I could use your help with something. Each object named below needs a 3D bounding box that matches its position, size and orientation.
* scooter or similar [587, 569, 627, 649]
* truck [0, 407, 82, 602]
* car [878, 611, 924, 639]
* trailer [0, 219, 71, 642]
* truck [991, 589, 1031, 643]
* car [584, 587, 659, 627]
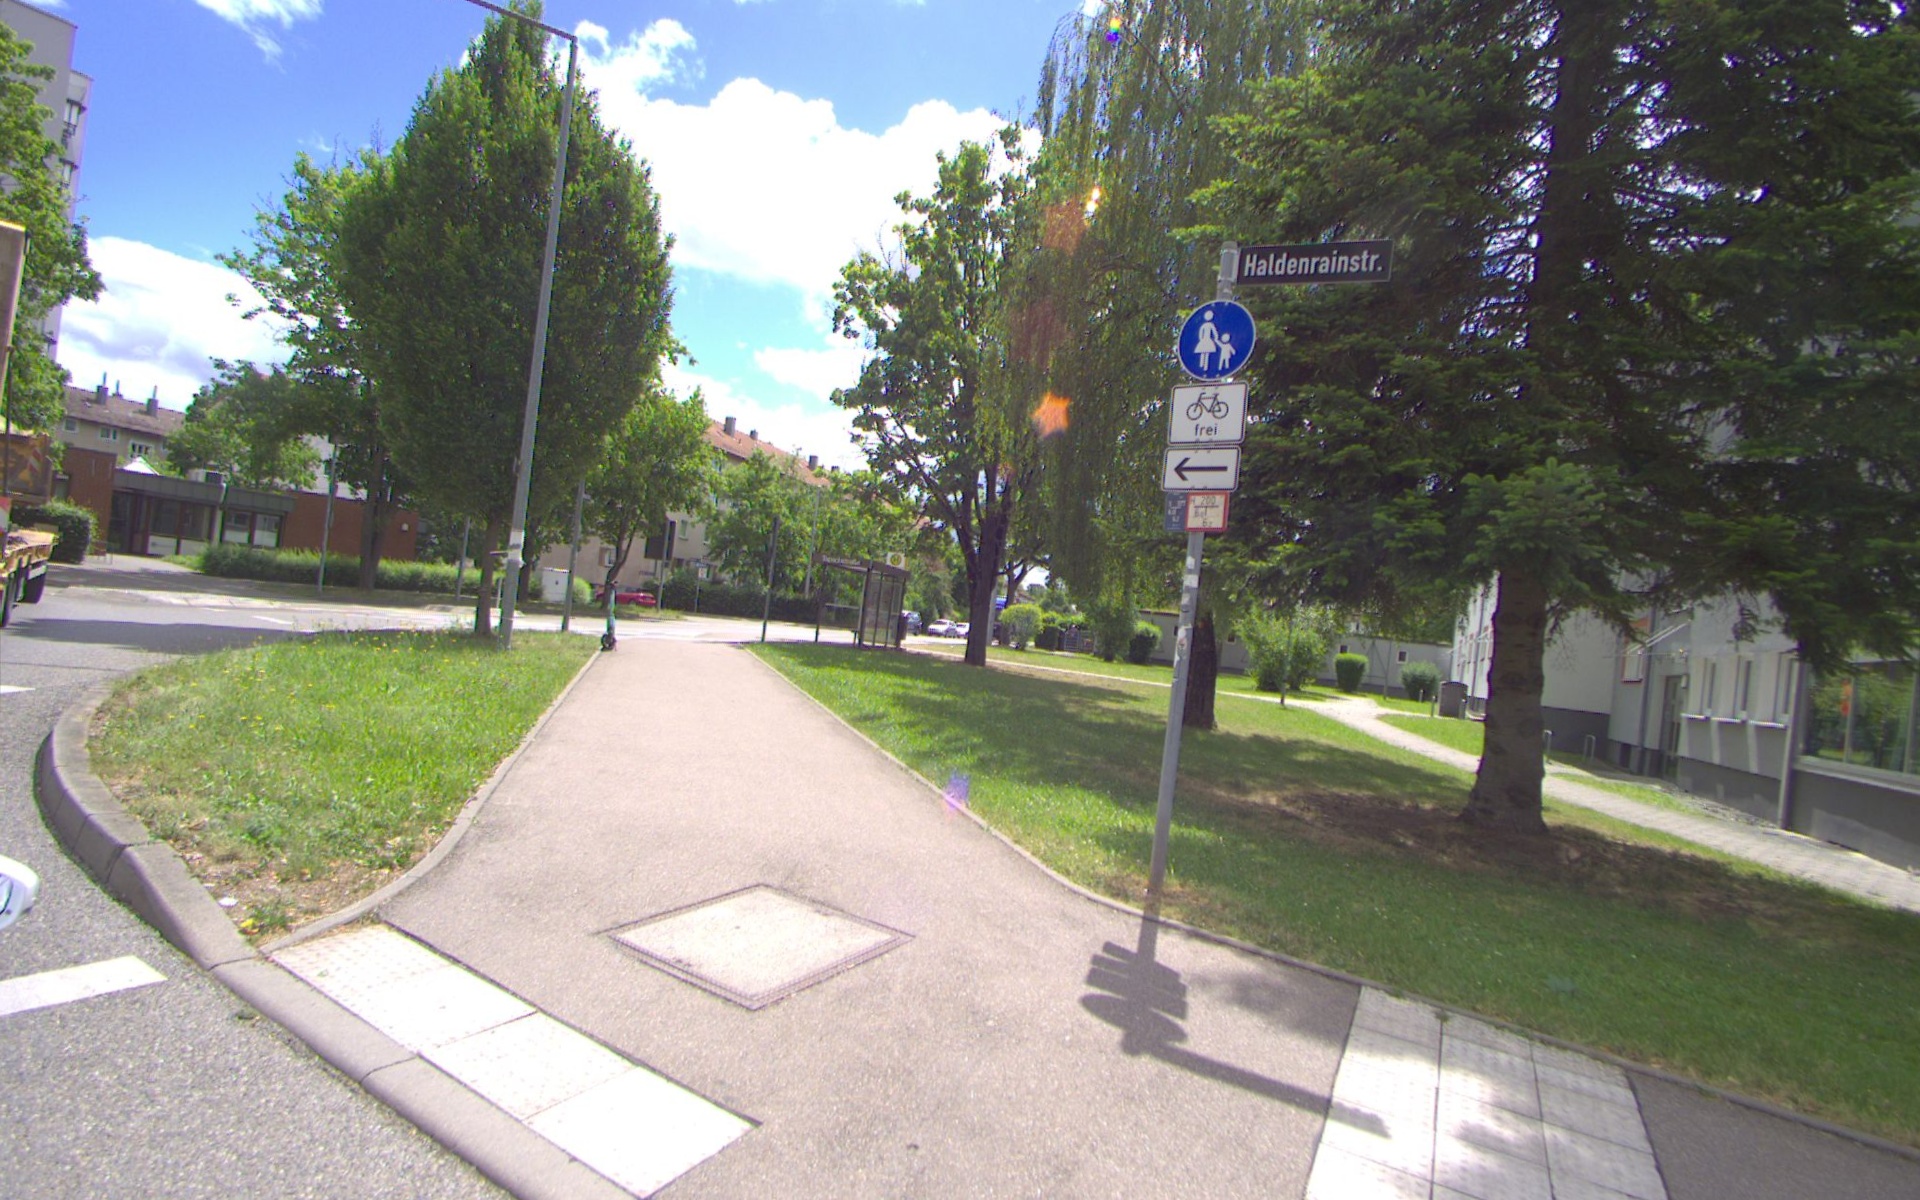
[{"bbox_3d":[-6.414,0.148,18.311,0.478,1.360,1.383,6,1,-16],"label":"scooter or similar"},{"bbox_3d":[-19.535,-2.005,17.093,8.326,3.072,2.998,6,0,19],"label":"truck"},{"bbox_3d":[-4.276,1.870,73.132,1.962,1.570,4.006,7,-3,16],"label":"car"},{"bbox_3d":[-12.211,-1.771,11.339,2.855,3.410,10.718,9,-3,-41],"label":"trailer"},{"bbox_3d":[4.686,1.557,90.425,2.736,4.201,9.809,6,-2,5],"label":"truck"},{"bbox_3d":[-21.343,0.462,63.476,3.926,1.963,2.020,7,-2,21],"label":"car"}]
